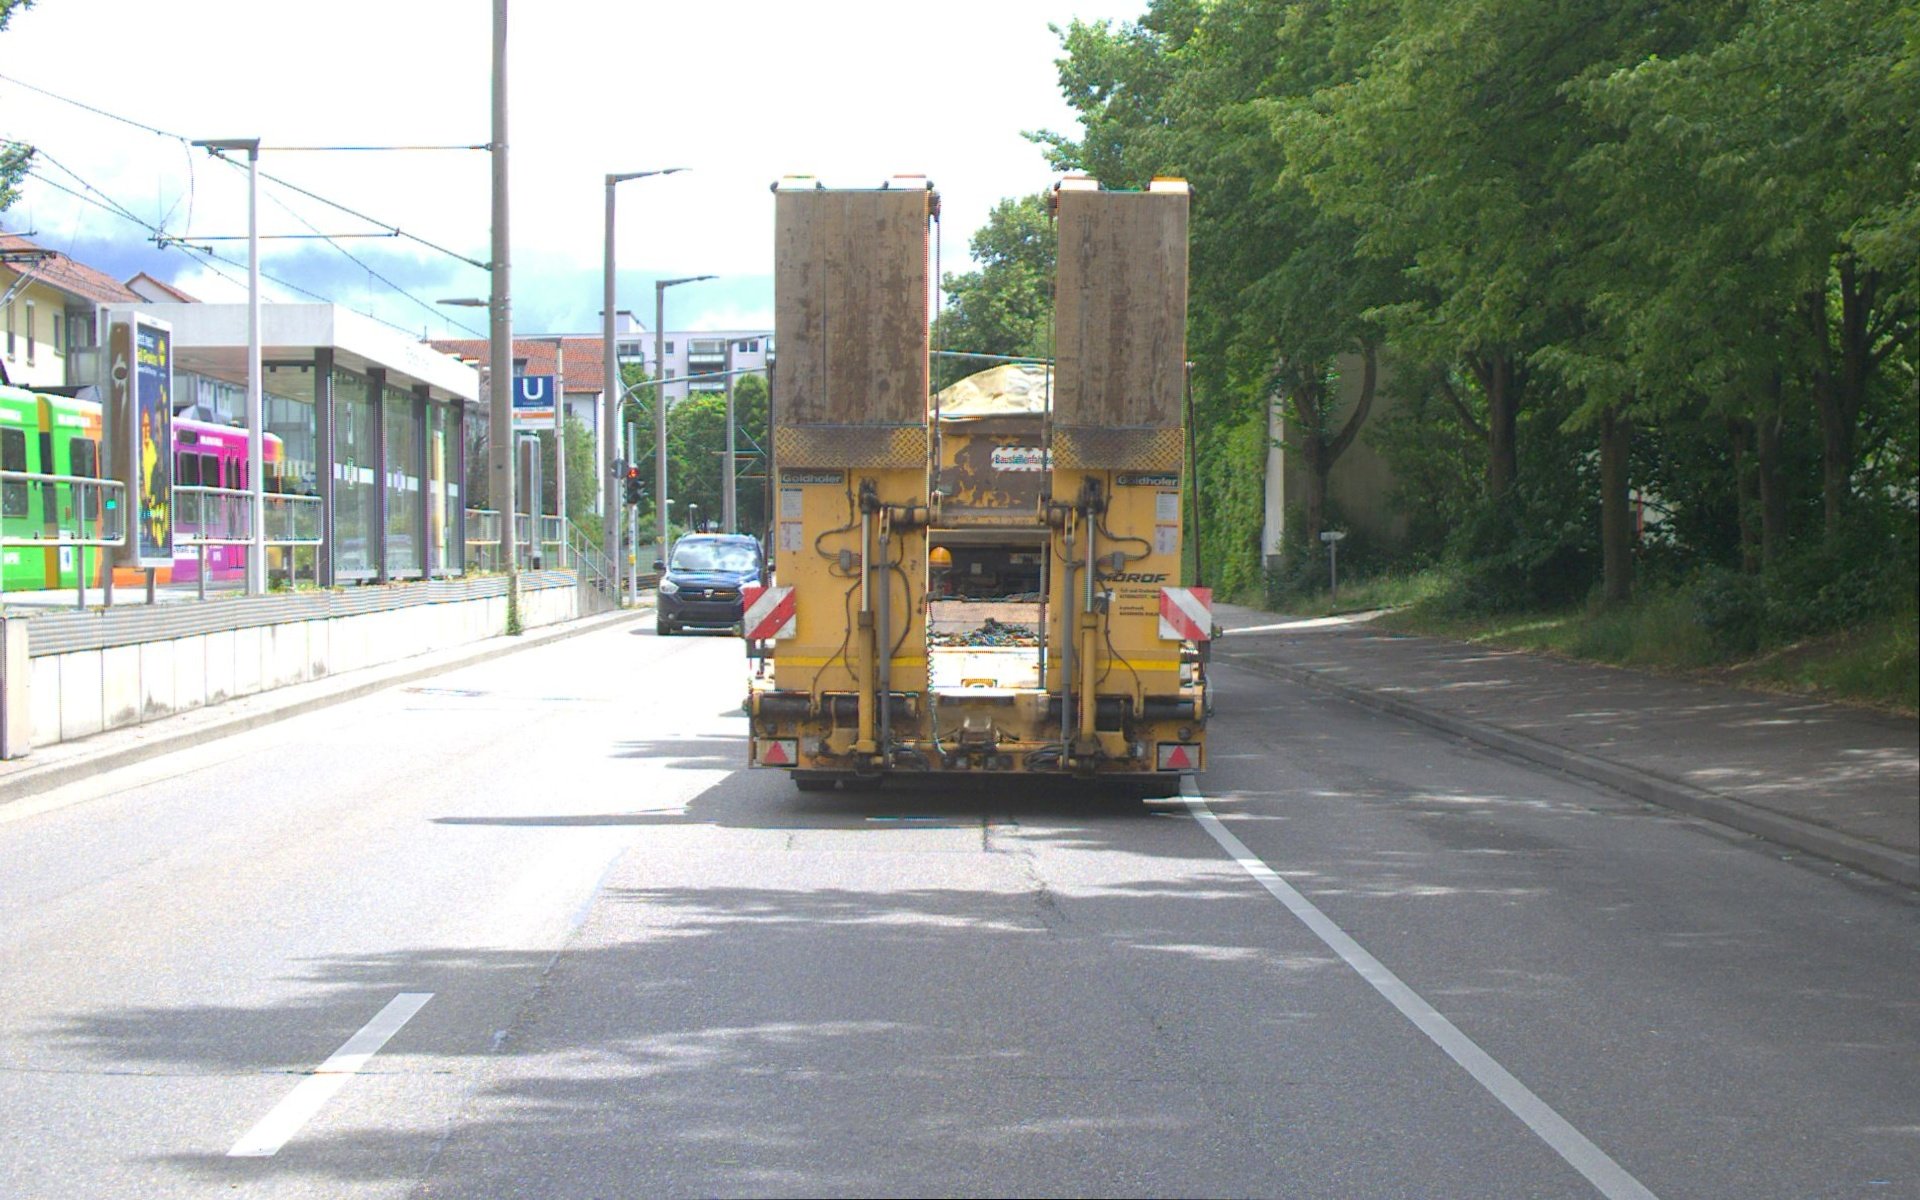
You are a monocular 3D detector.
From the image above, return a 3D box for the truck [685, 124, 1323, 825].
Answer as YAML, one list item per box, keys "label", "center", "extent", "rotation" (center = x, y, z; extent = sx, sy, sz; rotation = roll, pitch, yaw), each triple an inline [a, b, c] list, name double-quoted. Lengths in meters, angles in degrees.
- label: "truck"
  center: [-0.192, -0.798, 25.200]
  extent: [3.402, 3.719, 13.741]
  rotation: [0, 1, -4]

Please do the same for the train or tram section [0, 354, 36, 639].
- label: "train or tram section"
  center: [-12.993, -1.145, 33.677]
  extent: [3.108, 3.453, 19.200]
  rotation: [1, 1, -1]

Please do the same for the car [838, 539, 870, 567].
- label: "car"
  center: [-5.653, -2.507, 183.532]
  extent: [1.667, 1.448, 3.679]
  rotation: [1, 0, -1]

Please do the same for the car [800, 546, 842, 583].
- label: "car"
  center: [-5.745, -1.470, 142.412]
  extent: [1.667, 1.448, 3.679]
  rotation: [1, 0, -1]

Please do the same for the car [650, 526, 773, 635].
- label: "car"
  center: [-4.041, -0.341, 56.427]
  extent: [1.720, 1.676, 4.387]
  rotation: [1, 1, -1]

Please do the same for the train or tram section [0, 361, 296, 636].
- label: "train or tram section"
  center: [-13.428, -1.482, 52.867]
  extent: [3.108, 3.453, 19.091]
  rotation: [1, 1, -1]
